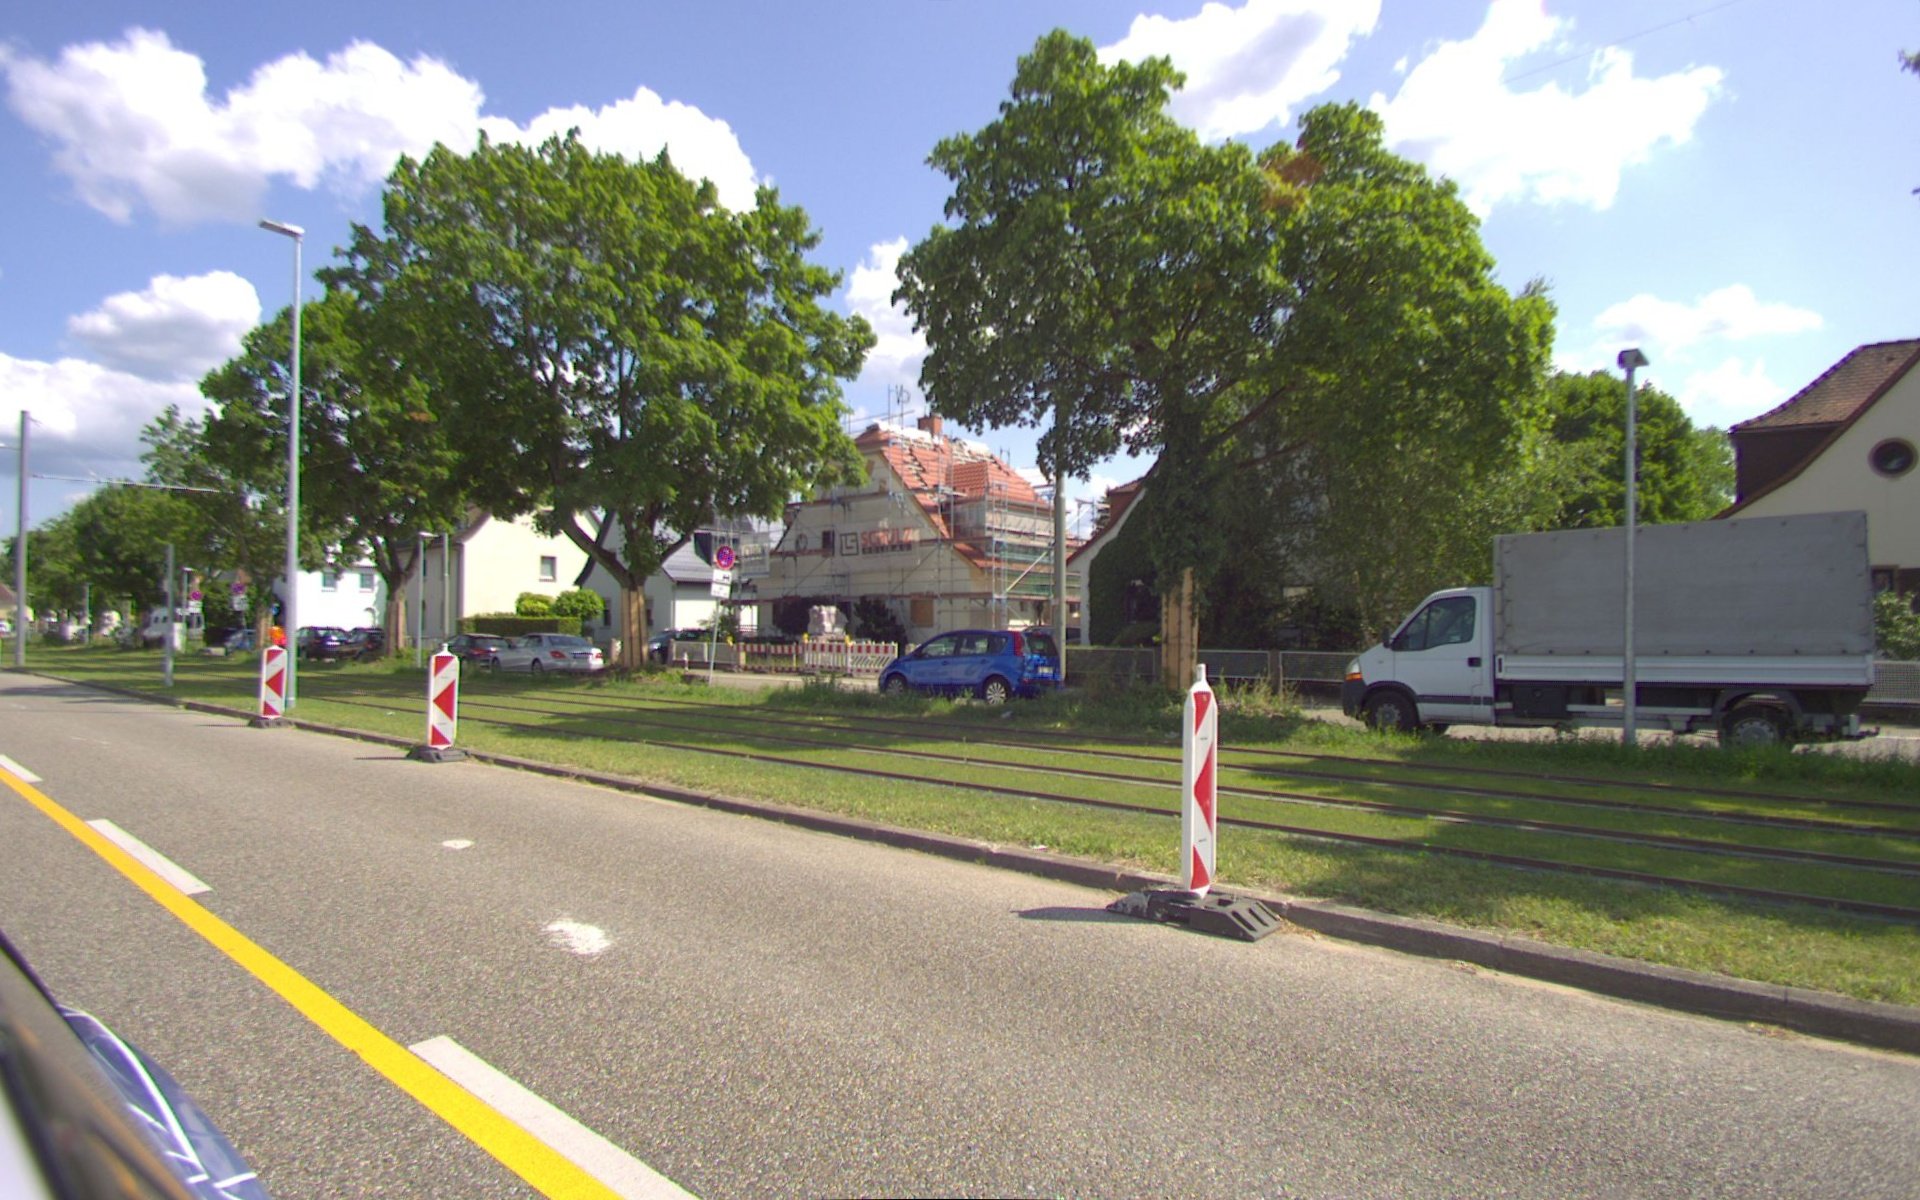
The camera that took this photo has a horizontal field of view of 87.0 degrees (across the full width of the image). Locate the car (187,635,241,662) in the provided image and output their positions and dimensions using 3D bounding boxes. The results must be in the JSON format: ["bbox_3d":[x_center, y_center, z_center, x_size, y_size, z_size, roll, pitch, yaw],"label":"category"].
[{"bbox_3d":[-44.475,2.882,60.330,4.403,1.497,1.680,-3,-3,41],"label":"car"}]

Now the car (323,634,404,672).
[{"bbox_3d":[-25.178,2.259,42.651,4.403,1.497,1.680,-3,-3,41],"label":"car"}]

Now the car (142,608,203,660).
[{"bbox_3d":[-49.514,2.169,63.607,5.080,3.061,2.108,-3,-3,41],"label":"car"}]

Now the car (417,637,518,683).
[{"bbox_3d":[-17.519,2.125,35.893,4.403,1.497,1.680,-3,-3,41],"label":"car"}]

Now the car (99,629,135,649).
[{"bbox_3d":[-69.103,3.215,82.921,4.404,1.497,1.679,-4,-3,42],"label":"car"}]

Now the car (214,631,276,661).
[{"bbox_3d":[-37.491,2.435,53.050,4.403,1.497,1.680,-3,-3,41],"label":"car"}]

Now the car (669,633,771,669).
[{"bbox_3d":[-10.924,2.299,46.210,1.702,1.497,4.345,-3,-3,41],"label":"car"}]

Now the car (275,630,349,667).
[{"bbox_3d":[-29.513,2.230,46.049,4.403,1.584,1.680,-3,-3,41],"label":"car"}]

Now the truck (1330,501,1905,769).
[{"bbox_3d":[8.301,0.459,13.402,5.971,2.802,2.242,-2,-3,41],"label":"truck"}]

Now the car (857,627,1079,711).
[{"bbox_3d":[0.067,1.356,20.279,4.403,1.497,1.680,-3,-3,41],"label":"car"}]

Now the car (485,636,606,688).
[{"bbox_3d":[-13.105,1.936,31.829,4.520,1.497,1.765,-4,-3,42],"label":"car"}]
